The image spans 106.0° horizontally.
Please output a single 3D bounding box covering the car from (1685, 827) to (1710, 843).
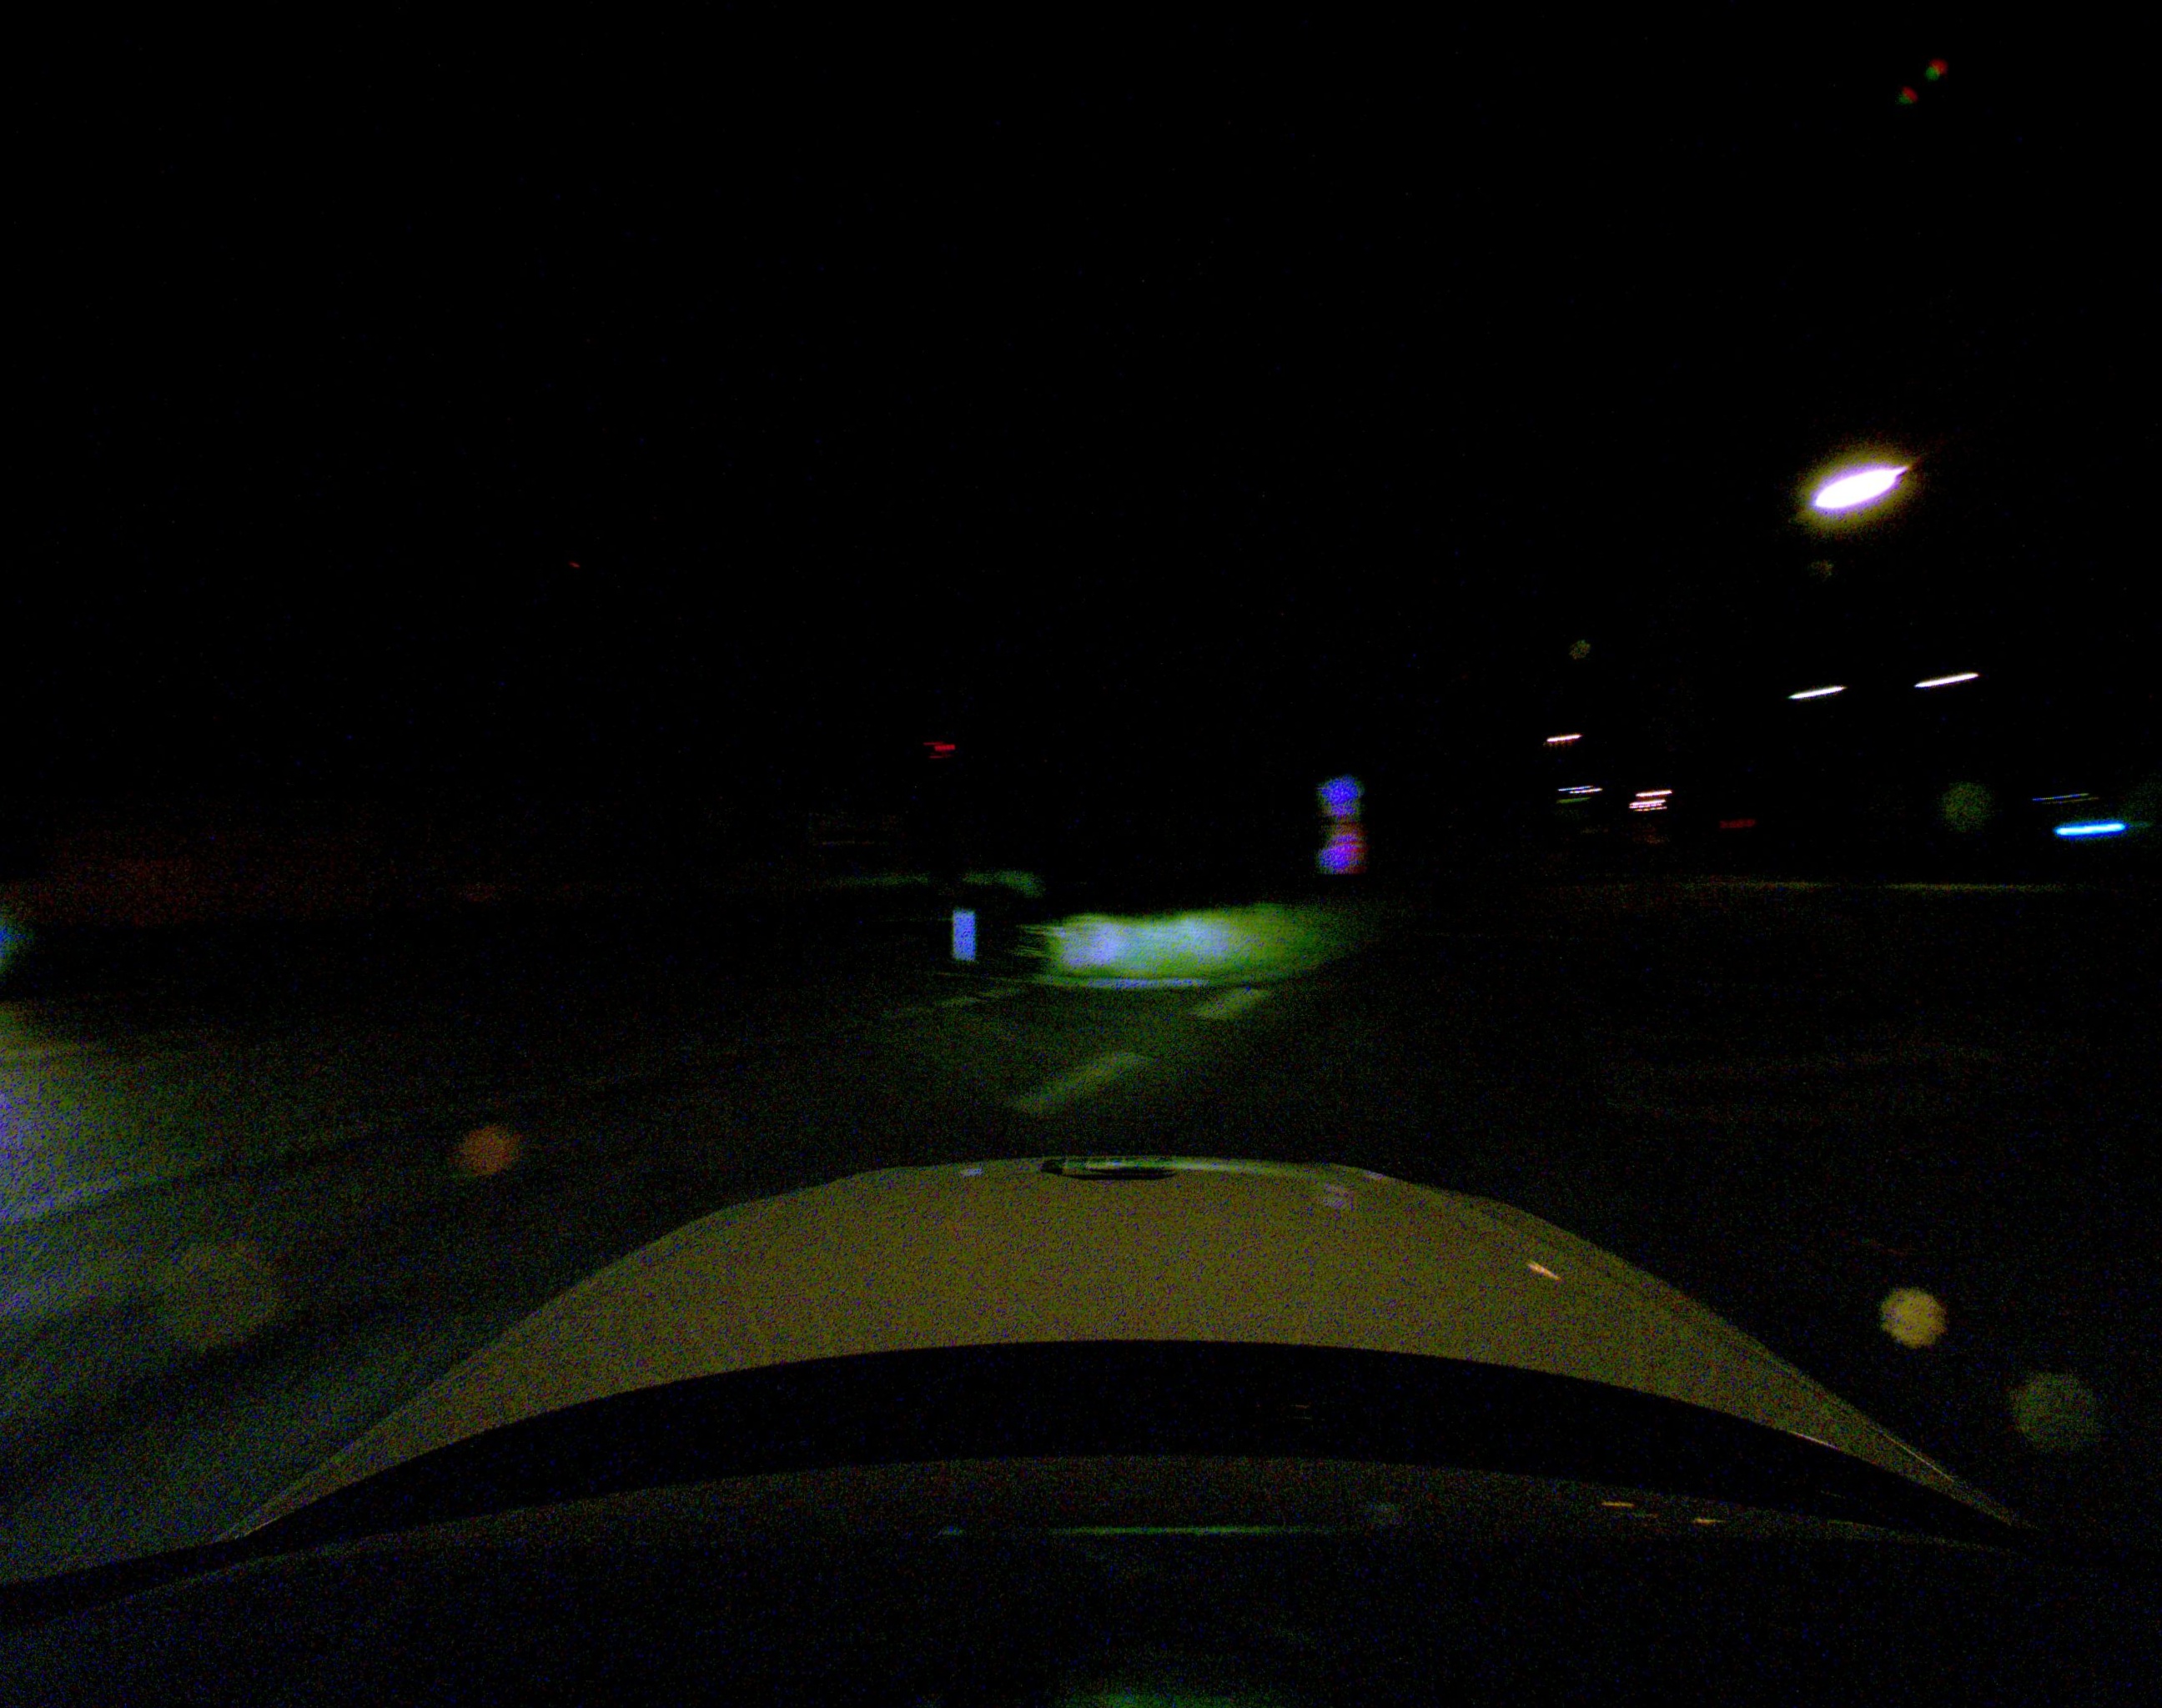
[{"bbox_3d":[69.280,-2.123,91.511,1.974,1.769,4.026,-1,0,34],"label":"car"}]
